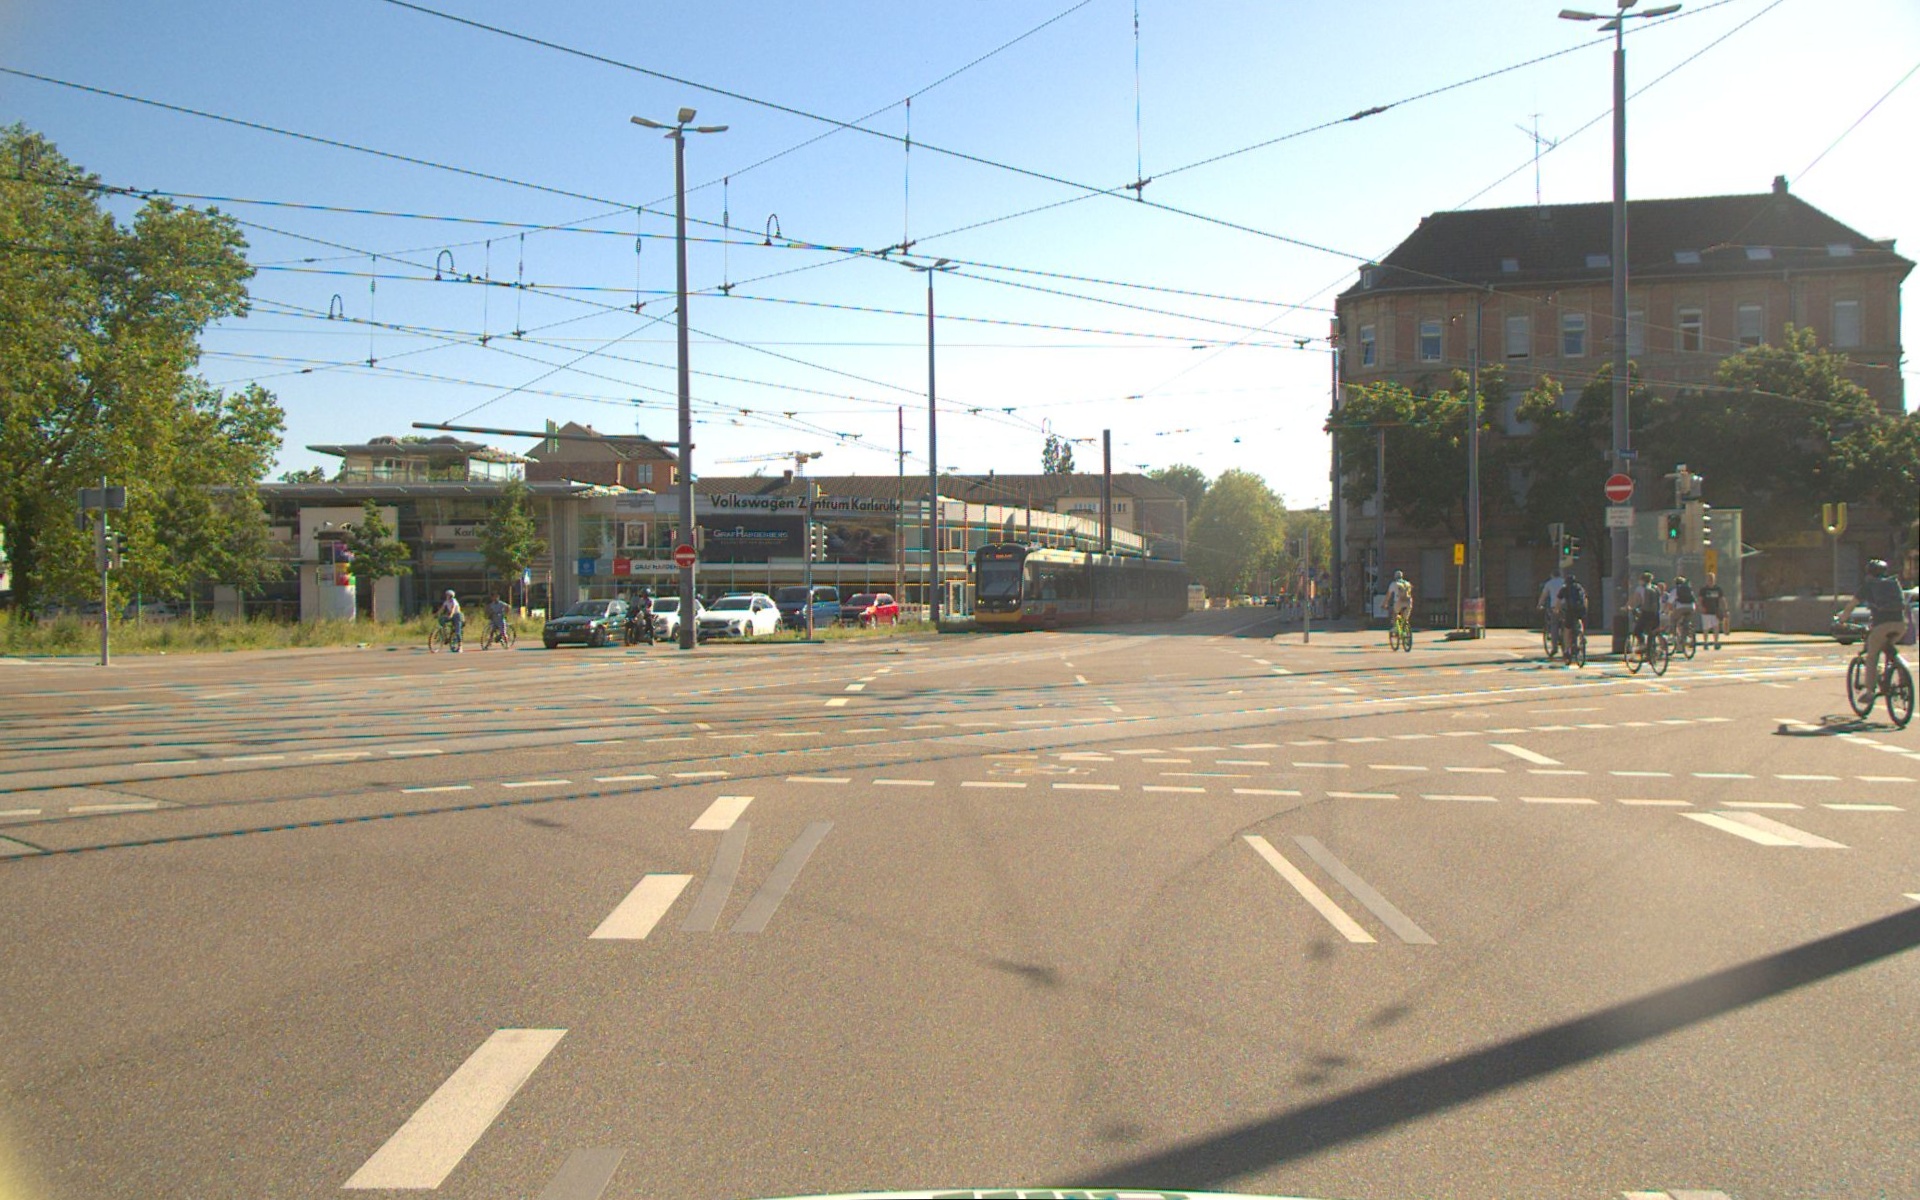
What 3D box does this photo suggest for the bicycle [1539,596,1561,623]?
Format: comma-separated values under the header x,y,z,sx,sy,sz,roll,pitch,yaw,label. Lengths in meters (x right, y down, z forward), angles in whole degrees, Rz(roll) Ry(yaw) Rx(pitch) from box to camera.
x,y,z,sx,sy,sz,roll,pitch,yaw,label
24.338,0.401,68.256,0.395,1.080,1.351,1,0,-2,bicycle

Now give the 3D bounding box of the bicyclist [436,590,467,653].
x,y,z,sx,sy,sz,roll,pitch,yaw,label
-14.632,0.605,47.575,0.562,1.773,0.678,1,1,14,bicyclist

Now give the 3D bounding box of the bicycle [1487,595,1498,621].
x,y,z,sx,sy,sz,roll,pitch,yaw,label
22.147,0.333,68.744,0.395,1.080,1.483,1,0,18,bicycle

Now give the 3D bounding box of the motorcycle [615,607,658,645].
x,y,z,sx,sy,sz,roll,pitch,yaw,label
-9.530,0.756,48.824,0.507,1.065,1.748,-1,0,15,motorcycle

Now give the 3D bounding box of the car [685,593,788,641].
x,y,z,sx,sy,sz,roll,pitch,yaw,label
-7.270,0.546,54.226,1.764,1.457,4.544,1,0,14,car

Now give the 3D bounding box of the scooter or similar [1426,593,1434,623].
x,y,z,sx,sy,sz,roll,pitch,yaw,label
19.649,0.340,69.157,0.264,1.206,1.566,1,0,14,scooter or similar

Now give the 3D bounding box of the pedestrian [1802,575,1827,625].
x,y,z,sx,sy,sz,roll,pitch,yaw,label
32.551,0.017,63.004,0.641,1.881,0.542,1,-1,-29,pedestrian

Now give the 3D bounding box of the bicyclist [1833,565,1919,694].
x,y,z,sx,sy,sz,roll,pitch,yaw,label
10.670,0.334,19.211,0.659,1.446,1.037,1,0,12,bicyclist

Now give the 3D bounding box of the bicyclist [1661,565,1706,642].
x,y,z,sx,sy,sz,roll,pitch,yaw,label
15.650,0.078,35.795,0.585,1.641,0.953,1,0,4,bicyclist

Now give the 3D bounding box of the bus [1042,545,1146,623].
x,y,z,sx,sy,sz,roll,pitch,yaw,label
6.830,-0.777,82.783,2.781,3.652,10.731,0,0,18,bus

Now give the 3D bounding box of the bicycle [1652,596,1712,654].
x,y,z,sx,sy,sz,roll,pitch,yaw,label
15.578,0.521,35.735,0.520,1.137,1.935,1,2,3,bicycle

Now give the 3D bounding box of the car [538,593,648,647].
x,y,z,sx,sy,sz,roll,pitch,yaw,label
-11.043,0.582,49.998,1.614,1.505,3.974,-2,0,14,car

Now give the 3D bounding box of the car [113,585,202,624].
x,y,z,sx,sy,sz,roll,pitch,yaw,label
-44.191,0.256,91.113,3.911,2.049,1.997,1,0,-7,car

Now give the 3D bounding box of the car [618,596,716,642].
x,y,z,sx,sy,sz,roll,pitch,yaw,label
-9.874,0.622,55.978,1.764,1.457,4.003,1,0,14,car

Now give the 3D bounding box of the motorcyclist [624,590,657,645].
x,y,z,sx,sy,sz,roll,pitch,yaw,label
-9.476,0.510,49.044,0.573,1.607,0.944,-1,-1,15,motorcyclist

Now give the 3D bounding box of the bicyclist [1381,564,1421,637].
x,y,z,sx,sy,sz,roll,pitch,yaw,label
10.483,0.016,39.327,0.666,1.713,1.120,1,0,3,bicyclist

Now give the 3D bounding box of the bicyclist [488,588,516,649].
x,y,z,sx,sy,sz,roll,pitch,yaw,label
-13.599,0.541,49.143,0.562,1.773,0.602,1,2,13,bicyclist

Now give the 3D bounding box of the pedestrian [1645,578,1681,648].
x,y,z,sx,sy,sz,roll,pitch,yaw,label
17.599,0.323,41.414,0.645,1.706,0.824,1,0,9,pedestrian

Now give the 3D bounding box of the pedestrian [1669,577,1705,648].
x,y,z,sx,sy,sz,roll,pitch,yaw,label
18.493,0.315,42.081,0.645,1.788,0.824,1,0,9,pedestrian

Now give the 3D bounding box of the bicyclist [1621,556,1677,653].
x,y,z,sx,sy,sz,roll,pitch,yaw,label
11.876,0.077,28.529,0.539,1.641,0.953,1,0,-1,bicyclist

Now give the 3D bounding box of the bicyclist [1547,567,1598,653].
x,y,z,sx,sy,sz,roll,pitch,yaw,label
11.899,0.190,32.133,0.610,1.641,0.981,1,0,1,bicyclist

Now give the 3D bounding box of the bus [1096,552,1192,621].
x,y,z,sx,sy,sz,roll,pitch,yaw,label
10.517,-0.718,93.229,2.782,3.652,11.272,0,0,20,bus

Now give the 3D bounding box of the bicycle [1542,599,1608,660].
x,y,z,sx,sy,sz,roll,pitch,yaw,label
11.955,0.575,32.208,0.521,1.137,1.933,0,-1,-1,bicycle

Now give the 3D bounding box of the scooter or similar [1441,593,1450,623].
x,y,z,sx,sy,sz,roll,pitch,yaw,label
20.266,0.344,69.011,0.264,1.217,1.566,1,0,14,scooter or similar

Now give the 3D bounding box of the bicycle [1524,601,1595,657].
x,y,z,sx,sy,sz,roll,pitch,yaw,label
12.526,0.594,34.592,0.379,1.087,1.926,-1,1,-14,bicycle

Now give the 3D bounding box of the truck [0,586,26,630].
x,y,z,sx,sy,sz,roll,pitch,yaw,label
-51.484,0.385,86.493,4.117,2.260,2.000,1,0,-1,truck

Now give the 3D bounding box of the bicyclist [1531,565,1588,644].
x,y,z,sx,sy,sz,roll,pitch,yaw,label
12.559,0.096,34.674,0.769,1.621,0.883,0,0,-13,bicyclist

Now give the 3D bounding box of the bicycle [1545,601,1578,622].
x,y,z,sx,sy,sz,roll,pitch,yaw,label
26.973,0.512,74.186,1.388,0.871,0.404,1,0,20,bicycle

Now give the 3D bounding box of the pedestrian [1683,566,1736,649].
x,y,z,sx,sy,sz,roll,pitch,yaw,label
18.338,0.183,40.492,0.911,1.963,1.050,1,0,9,pedestrian

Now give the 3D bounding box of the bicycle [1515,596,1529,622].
x,y,z,sx,sy,sz,roll,pitch,yaw,label
23.297,0.367,68.548,0.394,1.080,1.353,1,0,14,bicycle

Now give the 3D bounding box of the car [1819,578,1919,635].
x,y,z,sx,sy,sz,roll,pitch,yaw,label
28.054,0.203,49.636,4.184,1.649,1.903,0,-1,-25,car

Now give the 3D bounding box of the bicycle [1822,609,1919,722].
x,y,z,sx,sy,sz,roll,pitch,yaw,label
10.705,0.739,19.410,0.520,1.179,1.867,1,2,12,bicycle

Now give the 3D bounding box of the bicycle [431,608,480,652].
x,y,z,sx,sy,sz,roll,pitch,yaw,label
-14.571,0.848,47.789,0.526,1.204,1.755,-1,1,13,bicycle

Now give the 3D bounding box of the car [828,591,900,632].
x,y,z,sx,sy,sz,roll,pitch,yaw,label
-4.331,0.527,75.454,1.761,1.749,4.418,-1,-1,18,car

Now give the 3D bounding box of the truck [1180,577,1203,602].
x,y,z,sx,sy,sz,roll,pitch,yaw,label
27.468,-1.227,196.449,2.484,2.879,6.381,1,0,9,truck

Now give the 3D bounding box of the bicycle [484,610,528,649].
x,y,z,sx,sy,sz,roll,pitch,yaw,label
-13.539,0.872,49.387,0.526,1.092,1.656,-1,1,13,bicycle

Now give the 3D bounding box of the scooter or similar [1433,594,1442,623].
x,y,z,sx,sy,sz,roll,pitch,yaw,label
19.952,0.346,69.095,0.264,1.206,1.566,1,0,14,scooter or similar

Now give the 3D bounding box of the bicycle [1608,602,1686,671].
x,y,z,sx,sy,sz,roll,pitch,yaw,label
11.860,0.613,28.609,0.521,1.137,1.934,1,0,0,bicycle

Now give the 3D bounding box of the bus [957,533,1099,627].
x,y,z,sx,sy,sz,roll,pitch,yaw,label
3.186,-0.789,71.117,2.781,3.652,13.503,0,0,17,bus

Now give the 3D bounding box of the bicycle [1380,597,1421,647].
x,y,z,sx,sy,sz,roll,pitch,yaw,label
10.463,0.513,39.337,0.520,1.137,1.934,1,1,3,bicycle

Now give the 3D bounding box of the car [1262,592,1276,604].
x,y,z,sx,sy,sz,roll,pitch,yaw,label
46.575,-0.284,249.190,1.721,1.726,4.147,1,0,14,car

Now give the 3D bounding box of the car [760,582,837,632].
x,y,z,sx,sy,sz,roll,pitch,yaw,label
-6.596,0.298,67.987,1.764,1.967,4.168,-1,-1,15,car

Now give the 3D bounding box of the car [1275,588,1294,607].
x,y,z,sx,sy,sz,roll,pitch,yaw,label
36.334,-0.221,185.182,1.951,2.049,4.003,1,0,13,car
